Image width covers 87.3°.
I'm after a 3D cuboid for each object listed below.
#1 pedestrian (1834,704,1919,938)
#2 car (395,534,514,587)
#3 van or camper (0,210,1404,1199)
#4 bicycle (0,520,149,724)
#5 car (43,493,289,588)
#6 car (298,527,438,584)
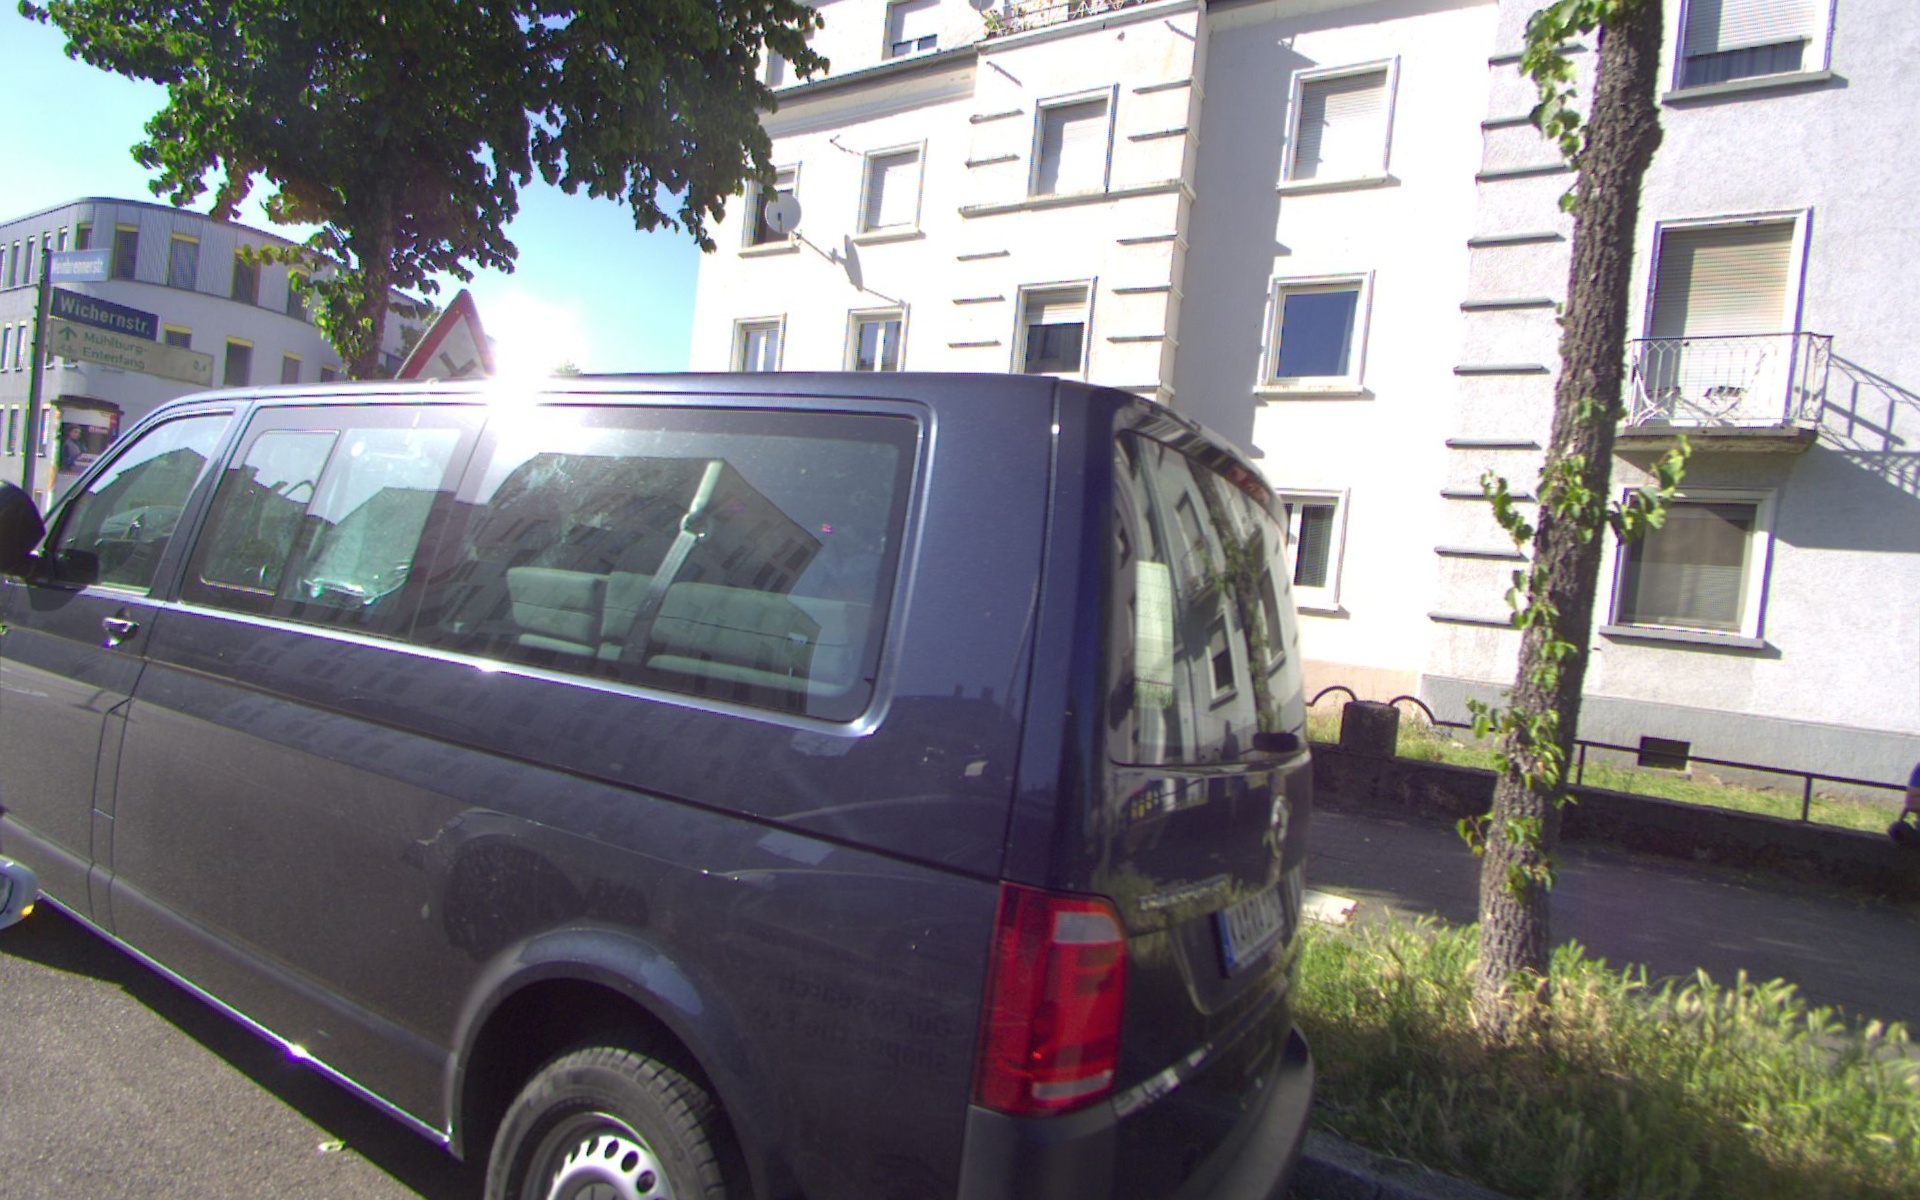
[{"bbox_3d":[5.974,1.334,6.050,0.805,1.310,1.084,5,-2,31],"label":"pedestrian"},{"bbox_3d":[-18.830,-1.427,37.749,1.878,1.497,4.382,7,-1,4],"label":"car"},{"bbox_3d":[-1.595,0.375,3.386,5.298,1.884,1.993,6,-2,32],"label":"van or camper"},{"bbox_3d":[-6.377,0.084,6.843,1.995,1.208,0.529,6,0,28],"label":"bicycle"},{"bbox_3d":[-17.505,-1.228,22.473,1.808,1.521,4.142,7,-1,6],"label":"car"},{"bbox_3d":[-19.270,-1.396,32.990,1.761,1.428,4.224,7,0,4],"label":"car"}]
